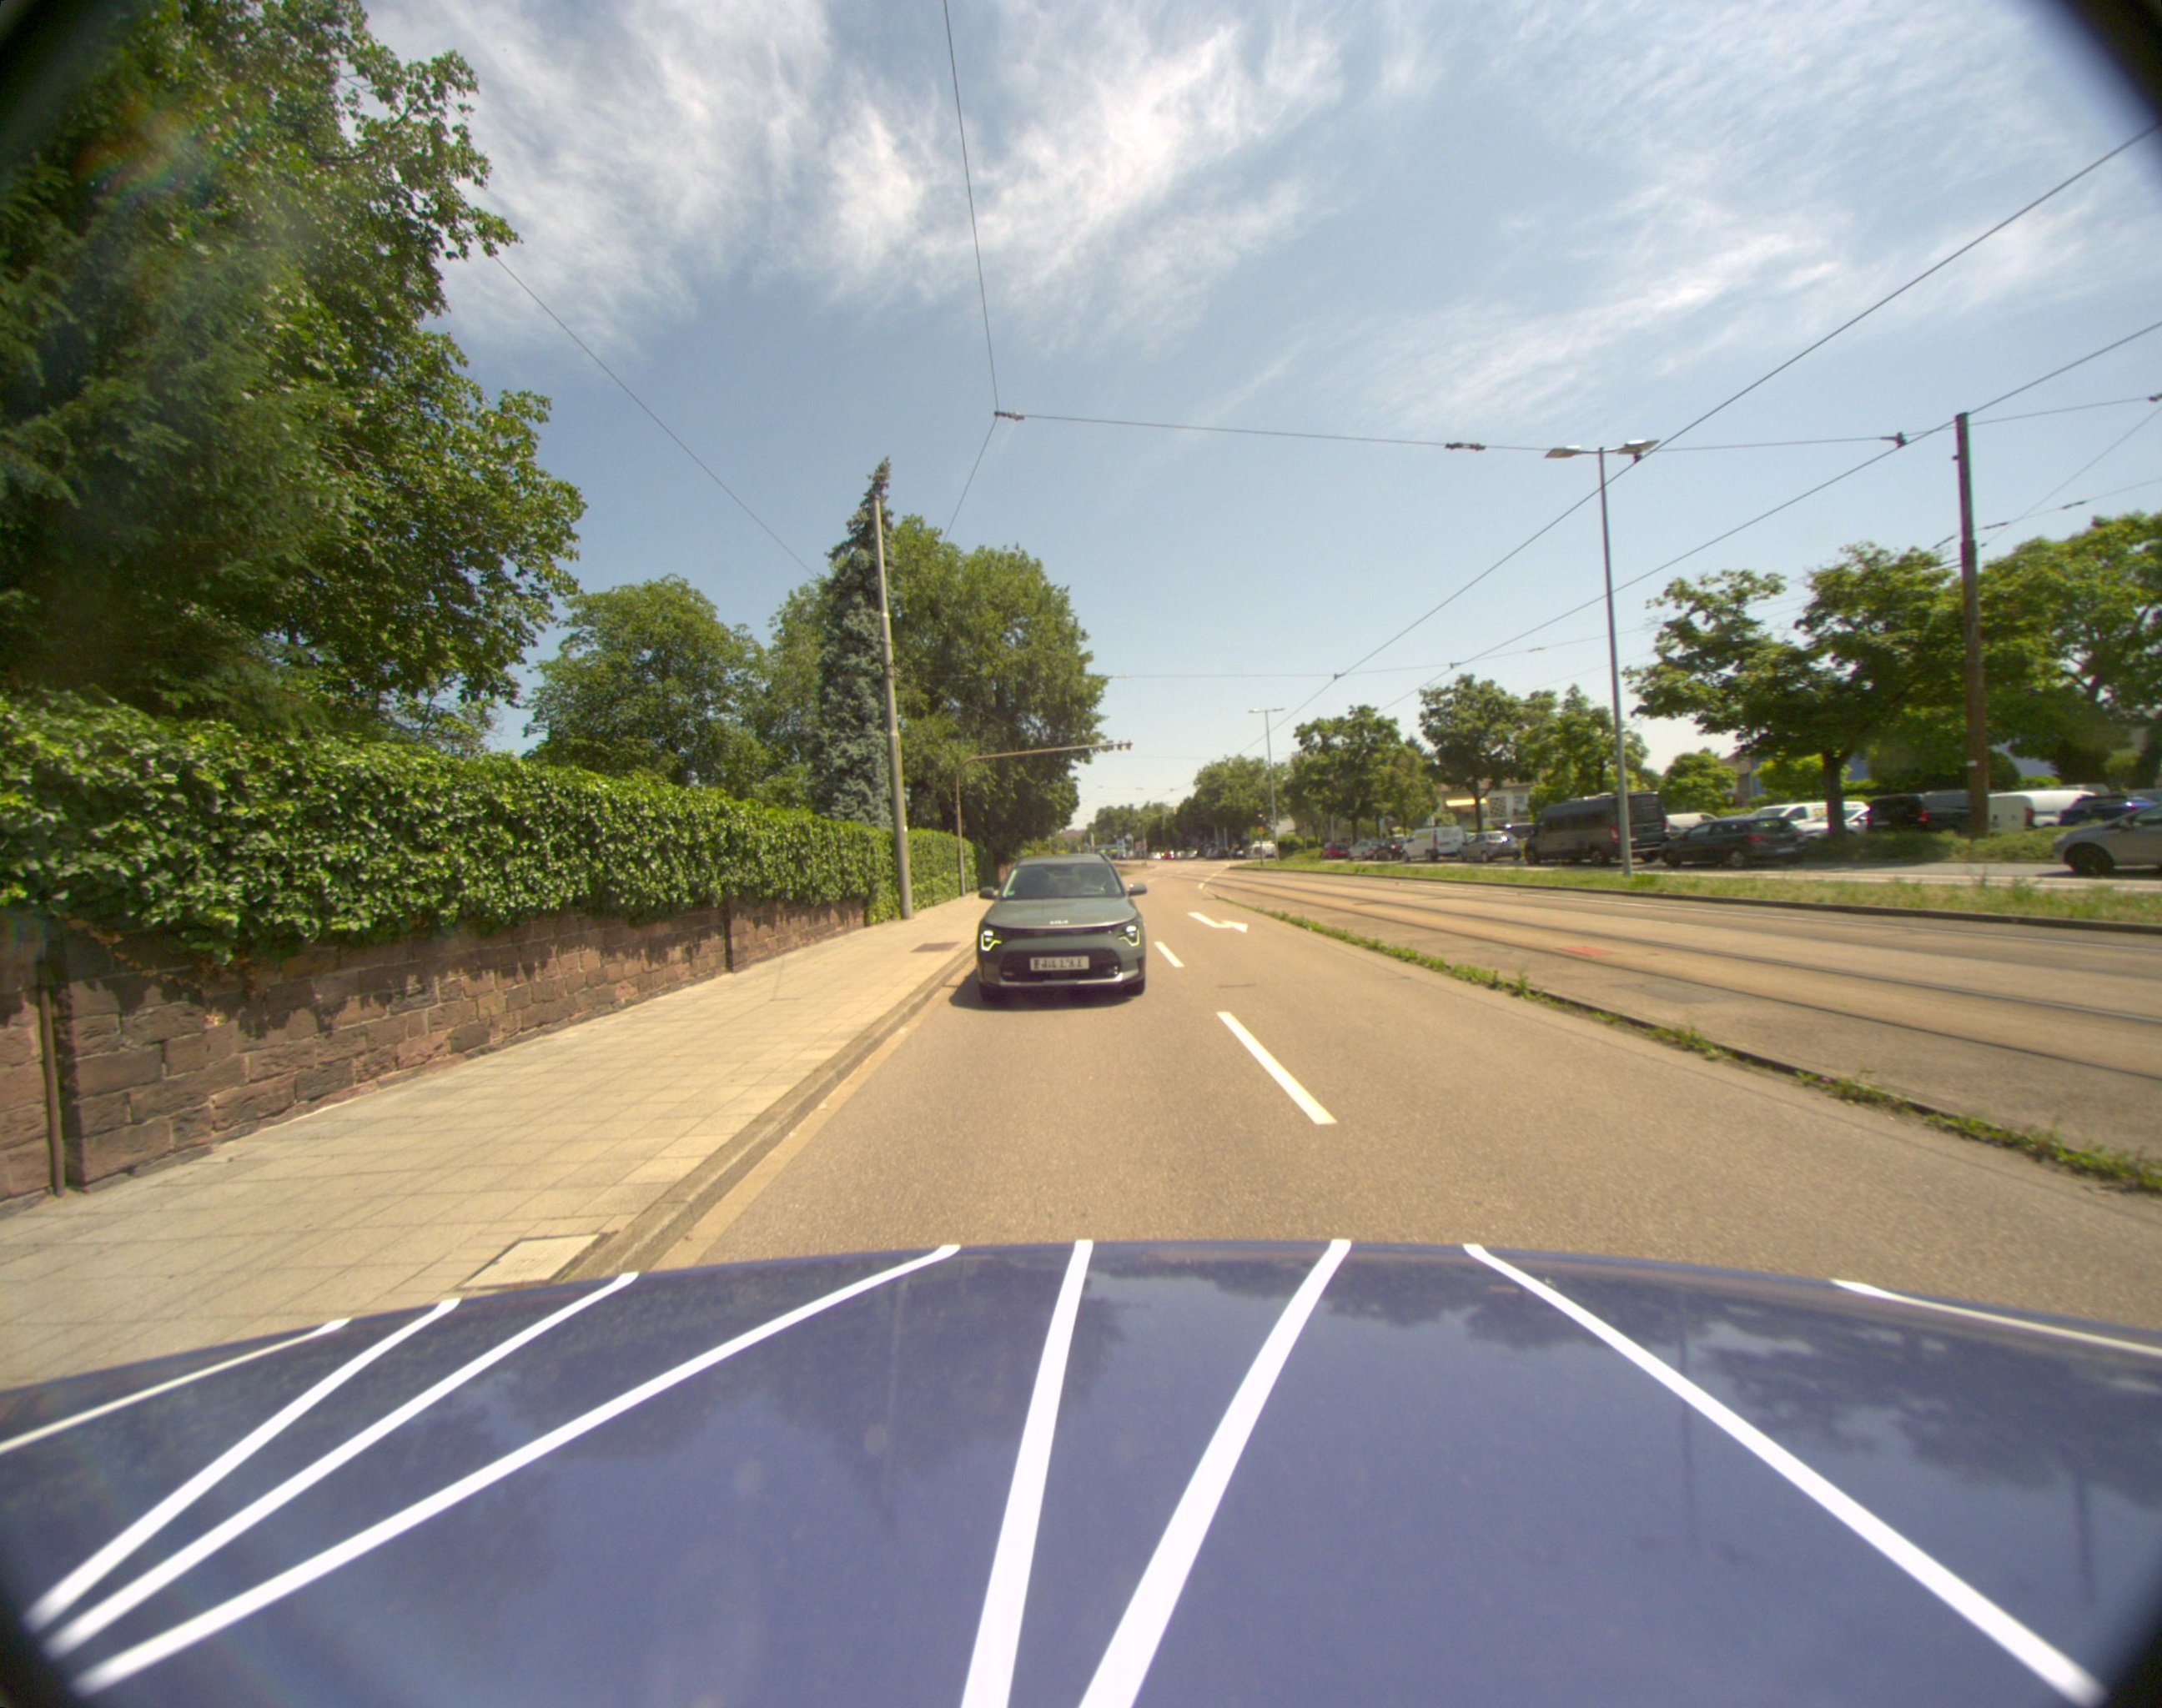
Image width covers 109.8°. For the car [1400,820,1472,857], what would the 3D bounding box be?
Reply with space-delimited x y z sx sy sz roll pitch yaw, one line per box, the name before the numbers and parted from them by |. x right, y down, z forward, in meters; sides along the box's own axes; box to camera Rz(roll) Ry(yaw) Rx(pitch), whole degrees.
car | 20.110 -0.878 43.260 1.924 1.937 4.816 -3 1 2

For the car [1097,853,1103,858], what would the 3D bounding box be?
car | 6.292 0.450 255.558 1.759 1.543 3.999 -3 0 -2

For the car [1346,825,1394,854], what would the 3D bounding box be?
car | 20.319 -1.000 53.529 1.635 1.882 4.496 -3 1 0

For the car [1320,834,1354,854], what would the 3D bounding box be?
car | 20.197 -0.809 60.113 1.582 1.472 3.423 -3 1 2

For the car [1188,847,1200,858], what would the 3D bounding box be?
car | 20.303 -0.241 137.034 1.703 1.842 3.983 -3 1 2

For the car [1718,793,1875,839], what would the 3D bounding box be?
car | 30.784 -1.607 32.782 4.926 1.568 1.999 -4 1 -2

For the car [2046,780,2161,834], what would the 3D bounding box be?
car | 30.792 -1.385 21.850 3.998 1.398 1.797 -3 0 -4

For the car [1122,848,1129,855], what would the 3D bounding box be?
car | 11.974 -0.703 204.000 1.780 1.907 3.754 -3 1 2

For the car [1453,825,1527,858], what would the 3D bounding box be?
car | 20.132 -0.624 37.536 1.767 1.456 3.608 -3 1 2

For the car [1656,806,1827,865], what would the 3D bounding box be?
car | 19.942 -0.561 23.170 1.976 1.568 3.751 -3 1 1

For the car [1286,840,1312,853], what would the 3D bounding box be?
car | 20.656 -0.695 72.085 1.582 1.152 3.423 -3 1 2

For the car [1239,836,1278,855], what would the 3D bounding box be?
car | 20.097 -0.961 86.088 4.206 1.979 1.823 -2 1 15

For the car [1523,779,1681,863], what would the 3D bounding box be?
car | 19.821 -1.198 29.350 2.244 2.822 5.666 -3 1 1

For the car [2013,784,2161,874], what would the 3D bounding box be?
car | 19.839 -0.479 13.403 1.654 1.494 4.125 -7 1 1

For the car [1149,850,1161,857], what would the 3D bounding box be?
car | 14.435 -0.079 148.481 1.781 1.311 3.752 -3 1 -5

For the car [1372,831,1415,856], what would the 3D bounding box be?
car | 20.034 -0.693 48.802 1.429 1.470 3.262 -3 1 0

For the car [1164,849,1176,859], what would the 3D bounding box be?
car | 15.367 -0.006 131.075 1.820 1.472 3.423 -3 1 2

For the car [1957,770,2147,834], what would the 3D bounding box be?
car | 31.222 -1.654 24.505 3.998 1.708 1.797 -4 1 -4

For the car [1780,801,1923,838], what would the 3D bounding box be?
car | 30.224 -1.336 29.883 3.998 1.137 1.734 -4 1 -4

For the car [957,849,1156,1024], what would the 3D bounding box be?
car | -0.259 0.787 9.456 1.824 1.577 4.287 -4 0 -1

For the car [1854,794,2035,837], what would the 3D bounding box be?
car | 30.589 -1.345 27.013 4.261 1.137 2.032 -4 1 -4
